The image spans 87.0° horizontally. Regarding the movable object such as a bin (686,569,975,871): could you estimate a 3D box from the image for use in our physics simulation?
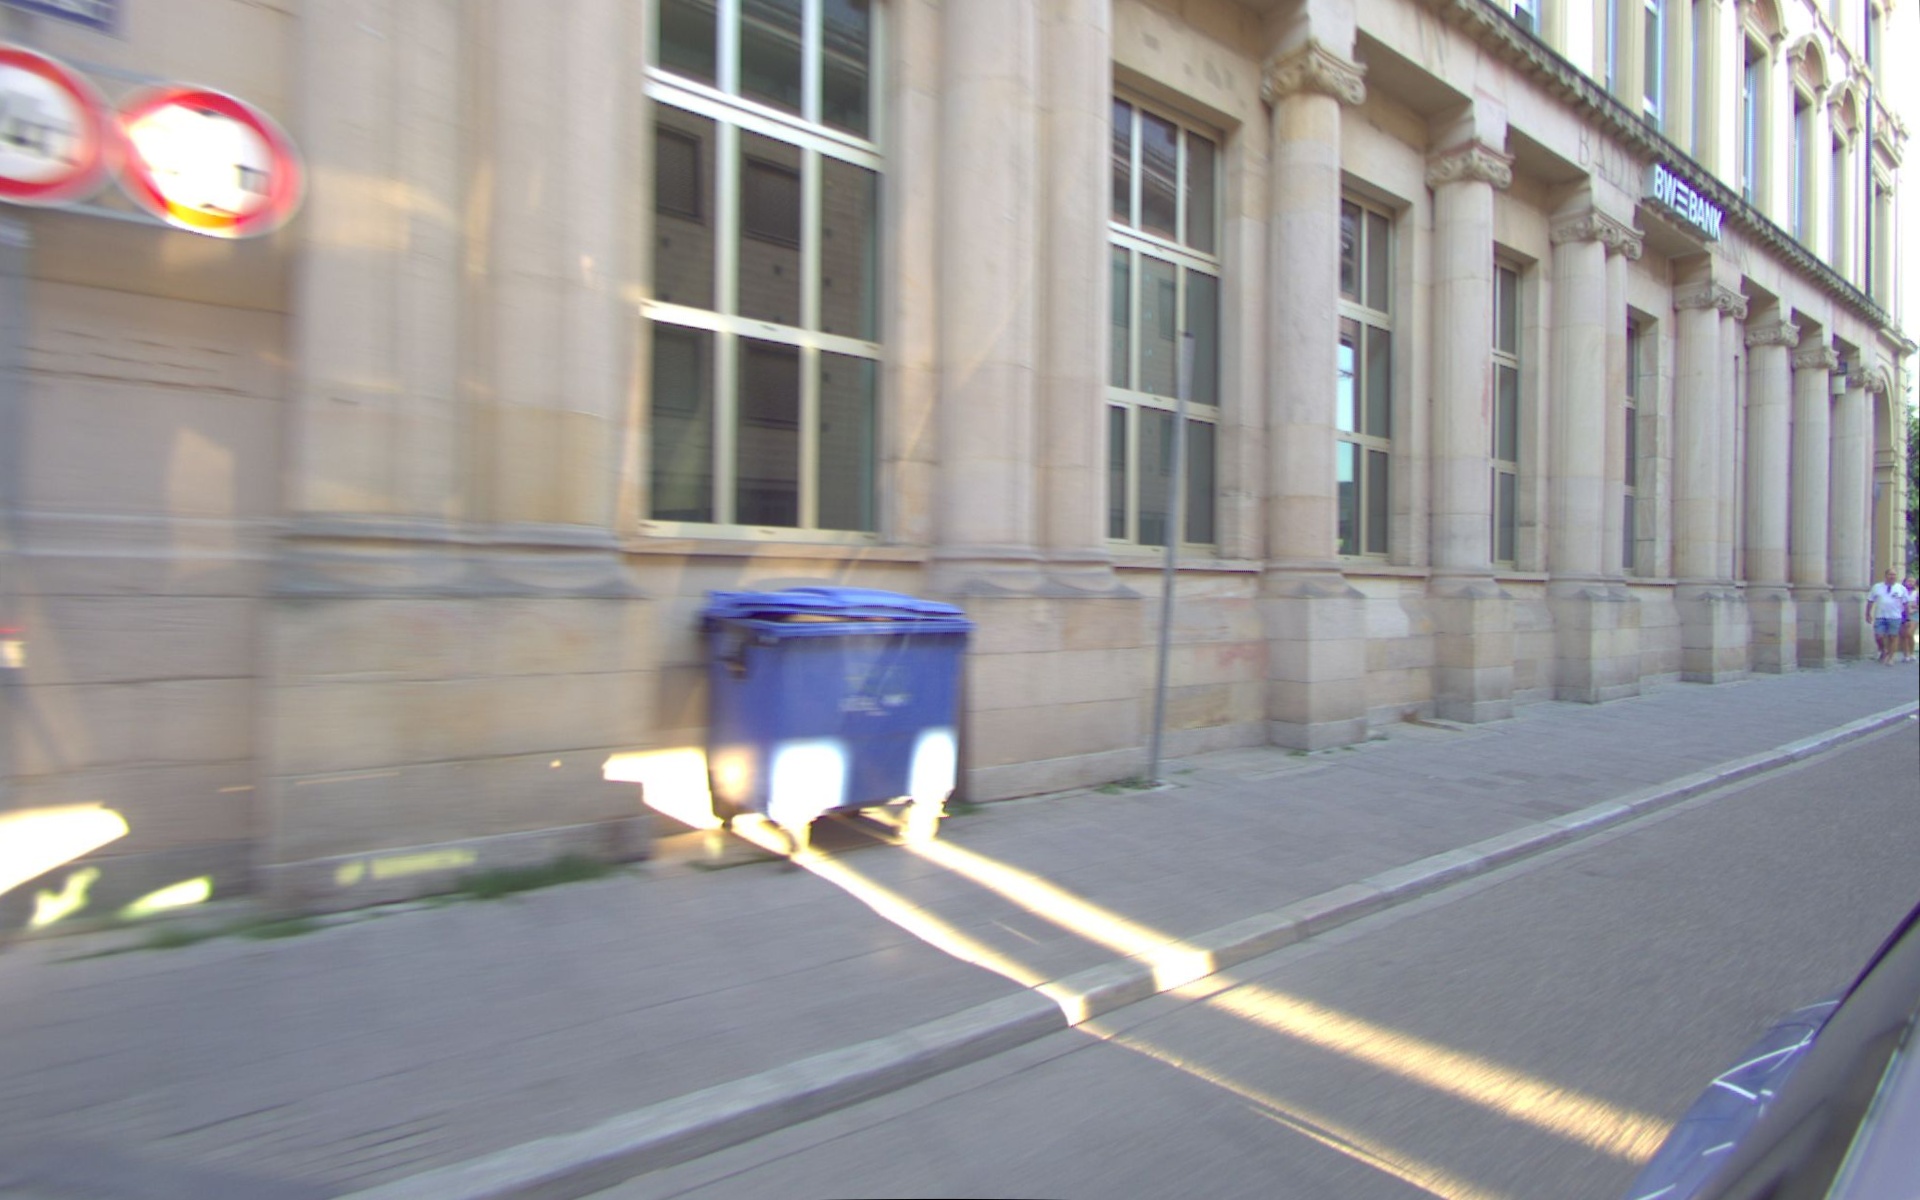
[{"bbox_3d":[-0.707,0.547,5.489,1.218,1.409,0.993,0,1,-38],"label":"movable object such as a bin"}]

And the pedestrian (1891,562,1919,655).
[{"bbox_3d":[19.080,0.168,20.174,0.758,1.826,0.638,0,1,-38],"label":"pedestrian"}]

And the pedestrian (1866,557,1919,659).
[{"bbox_3d":[18.043,0.137,19.424,0.859,1.898,0.814,0,1,-38],"label":"pedestrian"}]
